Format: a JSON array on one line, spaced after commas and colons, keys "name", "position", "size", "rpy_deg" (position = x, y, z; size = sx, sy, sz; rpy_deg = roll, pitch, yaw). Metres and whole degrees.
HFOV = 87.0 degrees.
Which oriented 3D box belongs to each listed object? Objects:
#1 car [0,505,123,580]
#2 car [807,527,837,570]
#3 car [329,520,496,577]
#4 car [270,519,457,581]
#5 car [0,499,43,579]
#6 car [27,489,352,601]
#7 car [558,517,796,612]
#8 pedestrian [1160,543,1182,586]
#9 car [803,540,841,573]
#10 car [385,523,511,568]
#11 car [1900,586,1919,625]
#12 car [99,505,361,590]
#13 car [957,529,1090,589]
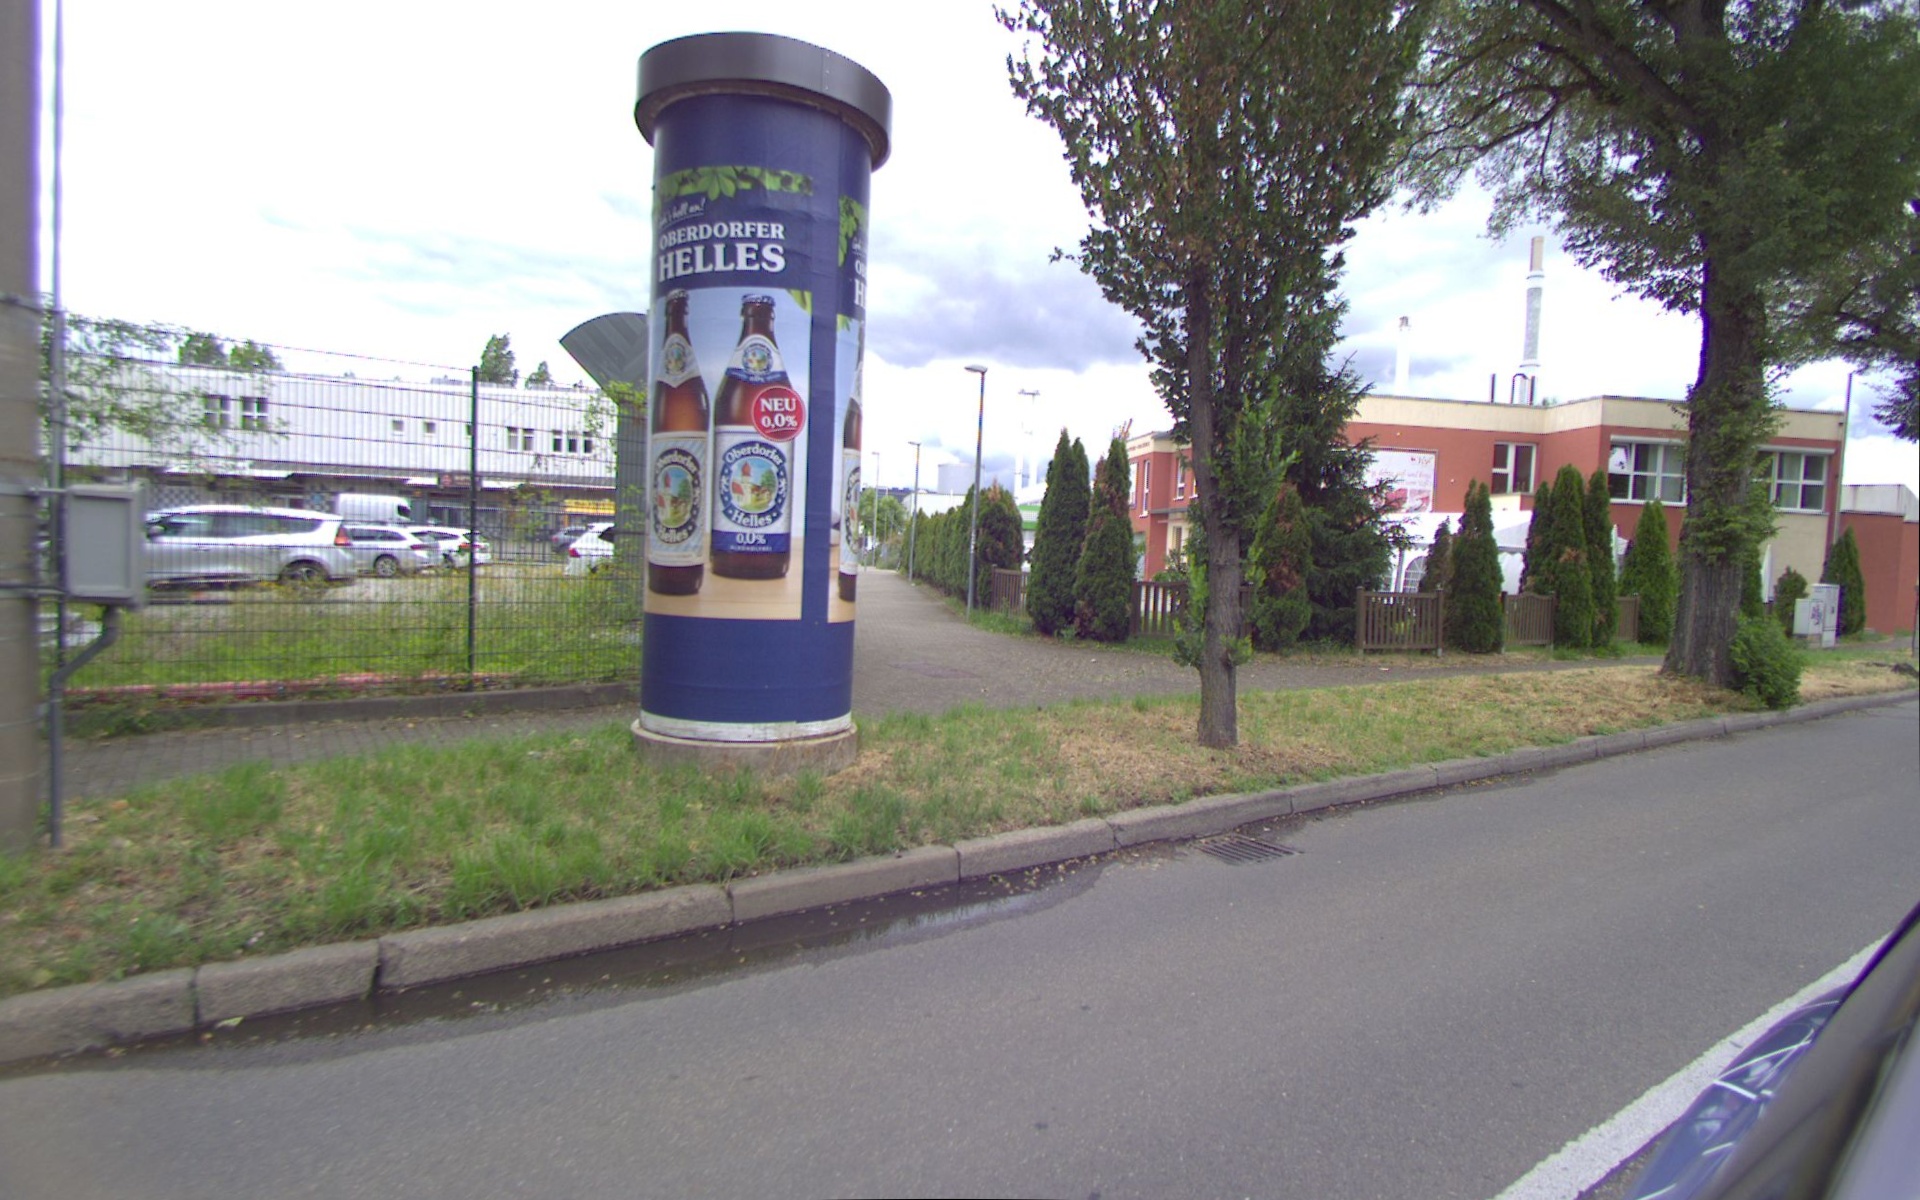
[{"name": "car", "position": [-22.581, -1.325, 23.691], "size": [4.182, 1.670, 2.004], "rpy_deg": [0, 1, -10]}, {"name": "car", "position": [-10.369, -3.754, 75.587], "size": [1.933, 3.000, 5.599], "rpy_deg": [0, 1, -11]}, {"name": "car", "position": [-16.956, -1.560, 31.562], "size": [4.182, 1.670, 2.004], "rpy_deg": [0, 1, -11]}, {"name": "car", "position": [-16.943, -1.378, 28.942], "size": [4.182, 1.670, 2.004], "rpy_deg": [0, 1, -11]}, {"name": "car", "position": [-22.055, -1.280, 20.908], "size": [4.182, 1.670, 2.004], "rpy_deg": [0, 1, -11]}, {"name": "car", "position": [-12.929, -0.852, 17.238], "size": [4.193, 1.670, 1.998], "rpy_deg": [0, 1, -39]}, {"name": "car", "position": [-5.575, -0.724, 20.471], "size": [4.409, 1.685, 2.004], "rpy_deg": [2, 3, -8]}, {"name": "pedestrian", "position": [8.751, -1.457, 41.998], "size": [0.851, 1.784, 0.599], "rpy_deg": [0, 0, 8]}, {"name": "car", "position": [-7.828, -2.413, 57.249], "size": [1.933, 1.738, 4.007], "rpy_deg": [0, 1, -11]}, {"name": "car", "position": [-20.634, -2.178, 40.971], "size": [4.182, 1.670, 2.004], "rpy_deg": [0, 1, -11]}, {"name": "car", "position": [43.044, 0.240, 43.320], "size": [1.863, 1.666, 3.993], "rpy_deg": [0, 1, -41]}, {"name": "car", "position": [-16.290, -1.167, 22.879], "size": [1.977, 1.685, 4.470], "rpy_deg": [3, 3, 22]}, {"name": "car", "position": [2.019, -1.251, 31.914], "size": [3.925, 1.772, 1.855], "rpy_deg": [0, 1, -36]}]
